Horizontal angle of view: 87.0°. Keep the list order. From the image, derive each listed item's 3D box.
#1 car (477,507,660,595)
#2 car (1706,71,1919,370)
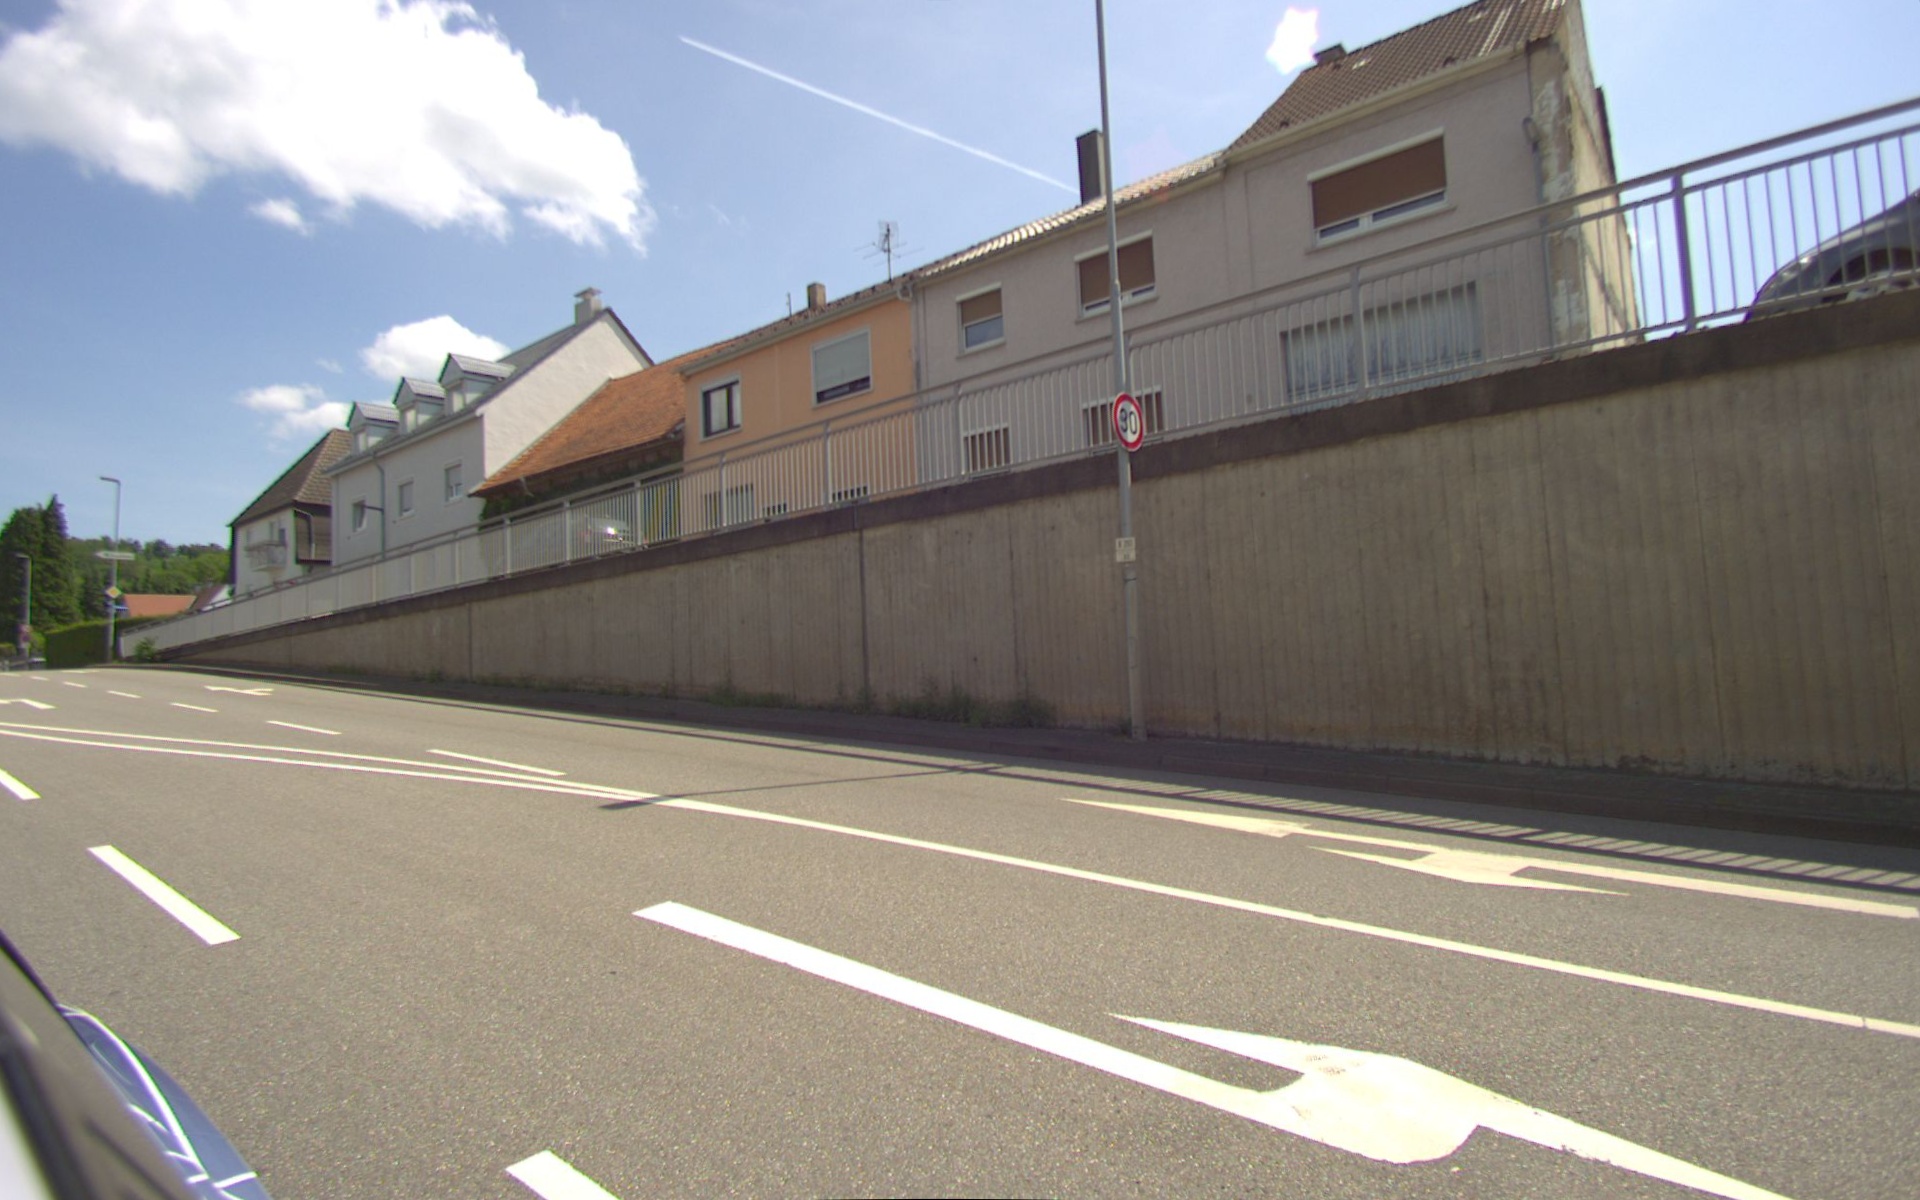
[{"bbox_3d":[-8.590,-0.979,22.034,4.388,1.416,1.768,-5,-4,39],"label":"car"},{"bbox_3d":[8.114,-3.021,7.193,4.388,1.536,1.781,-5,-4,39],"label":"car"}]
